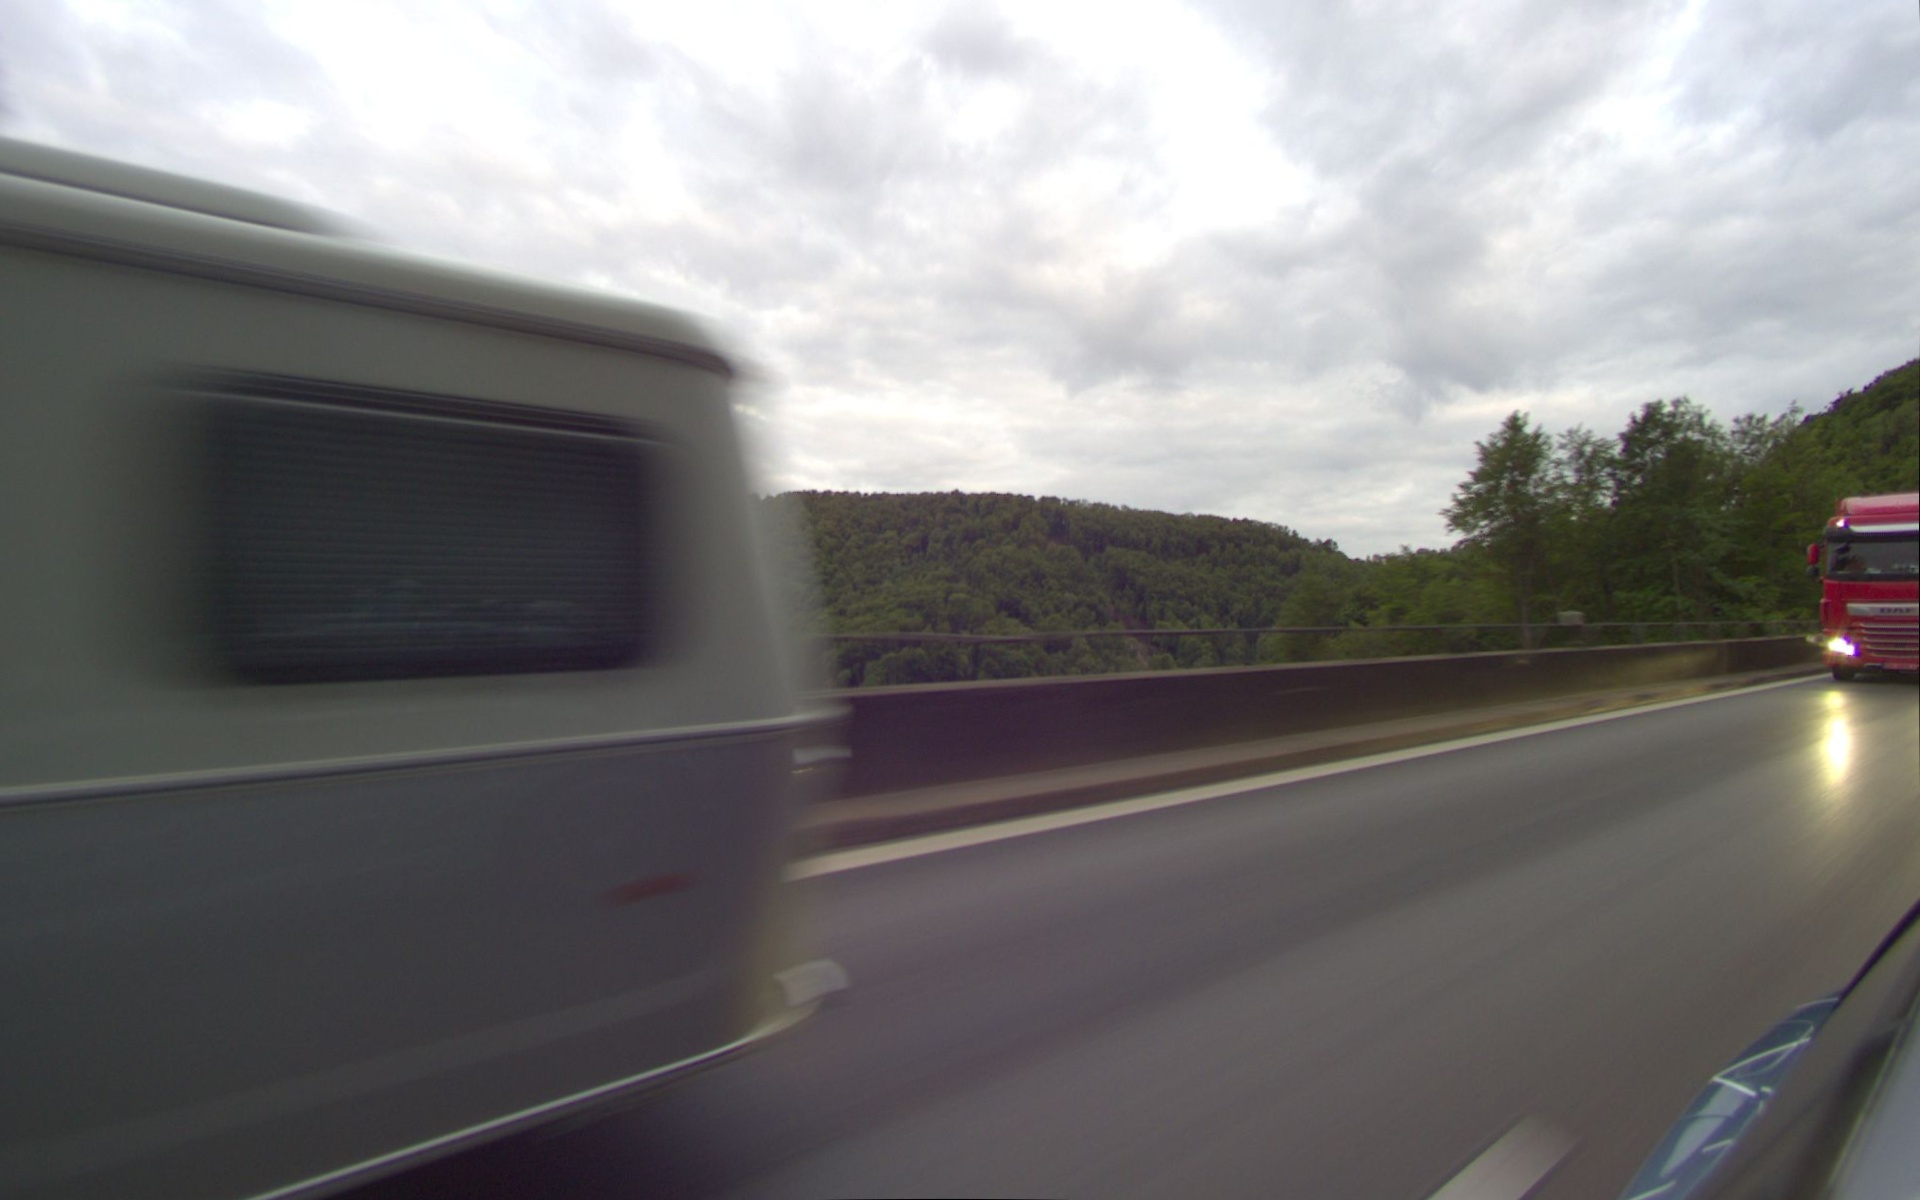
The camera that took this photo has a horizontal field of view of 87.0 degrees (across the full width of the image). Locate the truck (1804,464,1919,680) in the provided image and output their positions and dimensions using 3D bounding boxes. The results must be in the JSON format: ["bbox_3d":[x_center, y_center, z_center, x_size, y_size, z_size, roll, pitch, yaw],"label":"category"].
[{"bbox_3d":[20.971,-0.542,21.954,6.333,4.197,3.074,0,-1,-41],"label":"truck"}]

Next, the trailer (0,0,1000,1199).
[{"bbox_3d":[-2.790,0.229,1.521,5.832,2.405,2.058,0,-1,-40],"label":"trailer"}]

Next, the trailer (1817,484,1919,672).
[{"bbox_3d":[25.830,-0.406,26.198,13.962,4.021,3.103,1,-2,-40],"label":"trailer"}]
